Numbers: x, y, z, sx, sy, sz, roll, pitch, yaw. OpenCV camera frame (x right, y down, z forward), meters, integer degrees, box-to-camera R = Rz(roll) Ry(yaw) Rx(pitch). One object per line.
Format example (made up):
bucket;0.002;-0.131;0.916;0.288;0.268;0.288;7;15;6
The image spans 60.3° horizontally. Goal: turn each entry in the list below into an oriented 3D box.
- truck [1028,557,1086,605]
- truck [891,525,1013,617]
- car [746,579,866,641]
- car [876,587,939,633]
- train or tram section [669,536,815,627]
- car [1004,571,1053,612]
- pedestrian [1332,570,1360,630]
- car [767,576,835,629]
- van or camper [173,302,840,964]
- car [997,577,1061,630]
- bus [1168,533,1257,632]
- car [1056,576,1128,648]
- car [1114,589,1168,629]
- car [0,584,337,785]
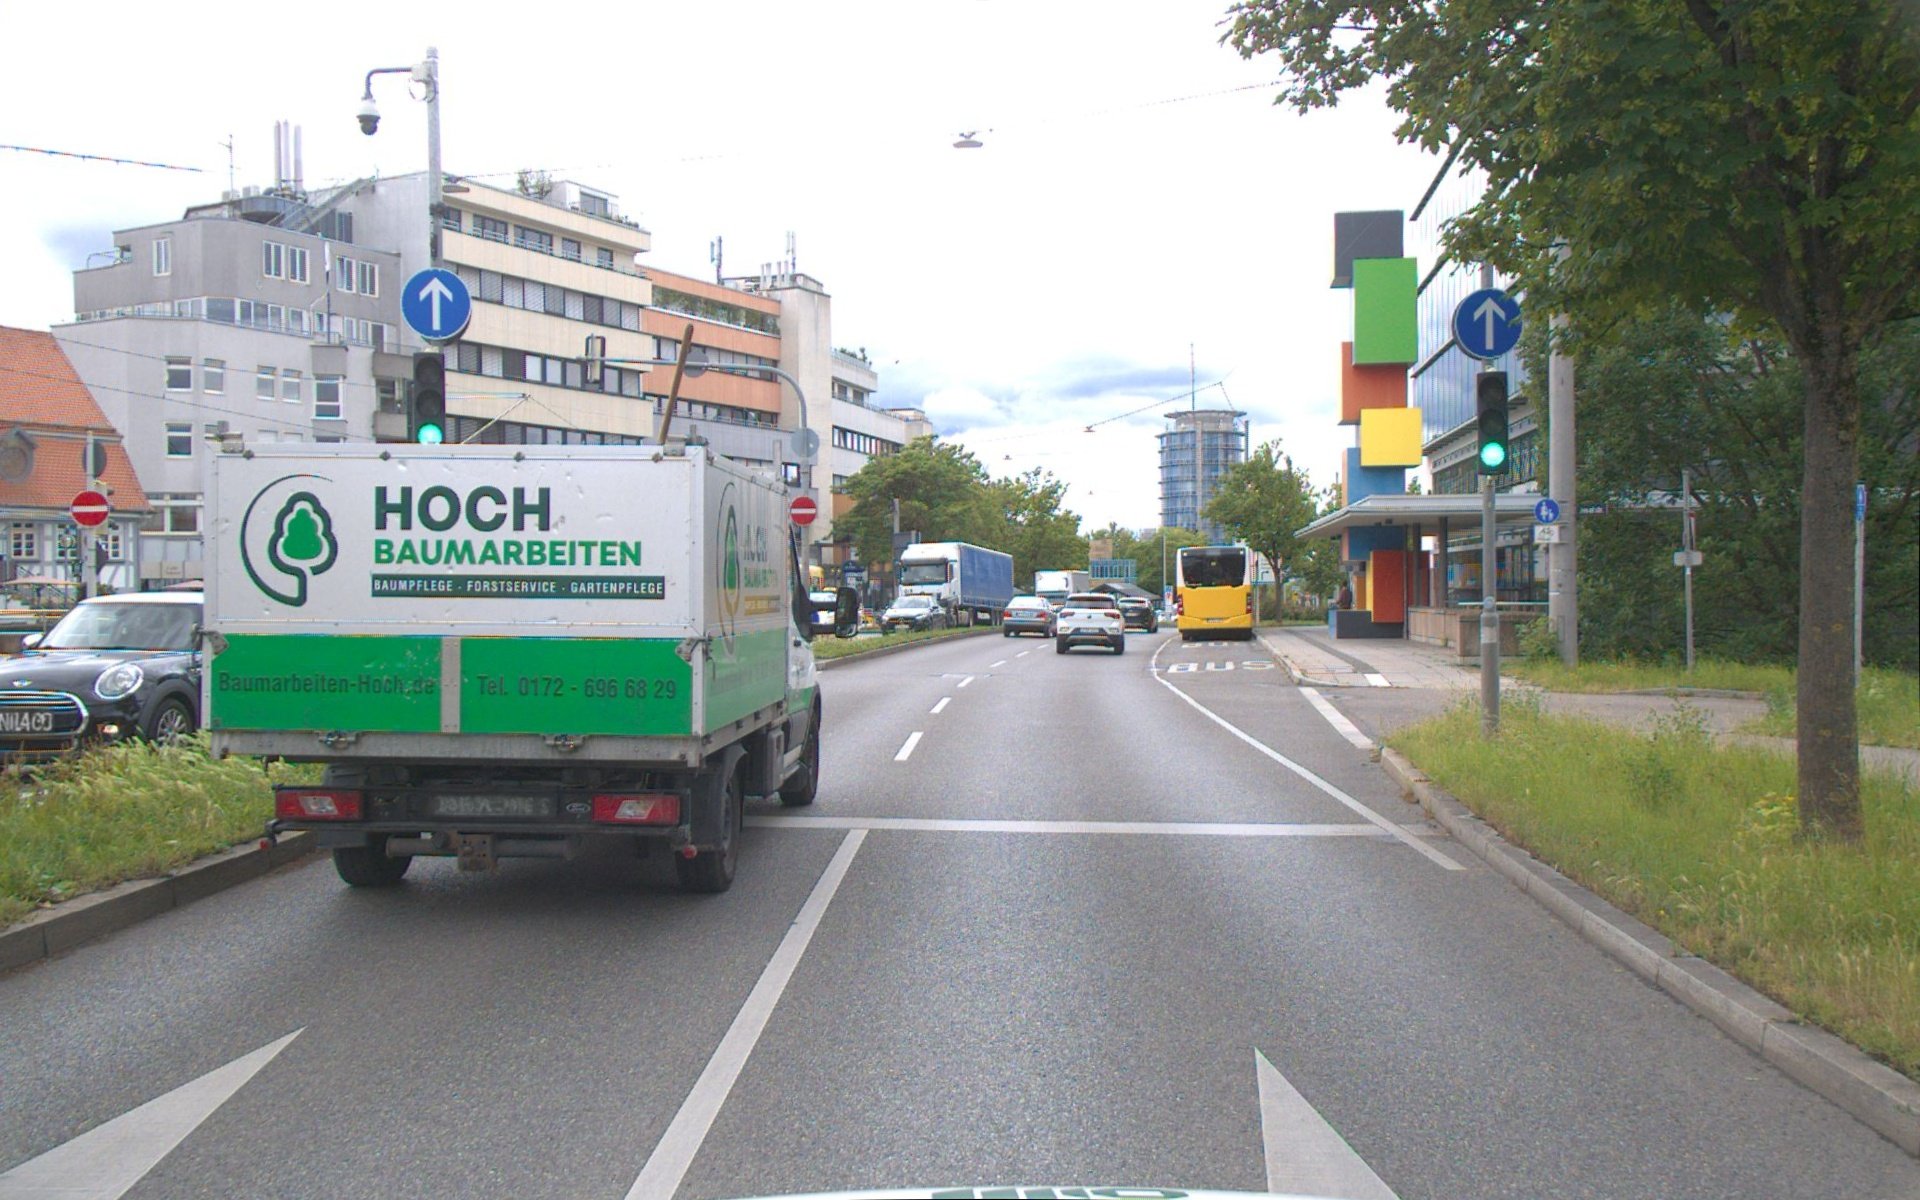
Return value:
truck;6.619;-1.292;111.209;3.017;3.081;9.366;0;1;9
truck;-0.100;-1.433;83.208;2.891;4.151;16.617;0;1;11
car;-4.014;0.226;44.010;1.923;1.525;4.780;0;1;11
car;-1.819;0.346;58.541;1.663;1.542;3.496;0;0;8
train or tram section;-8.947;-0.765;70.096;2.505;3.470;13.094;0;0;9
car;3.515;-0.441;84.281;1.951;2.049;5.201;0;1;8
pedestrian;12.004;-0.006;51.498;0.695;1.847;0.764;0;0;0
car;-5.450;0.056;57.027;1.532;1.784;3.844;0;1;7
van or camper;-2.103;0.051;9.843;2.295;2.708;5.966;1;2;0
car;2.448;0.099;57.877;1.663;1.541;3.741;1;4;12
bus;9.201;-0.632;59.542;2.891;3.246;9.938;0;1;10
car;3.582;0.287;44.382;1.664;1.574;3.740;3;4;7
car;7.866;0.371;71.637;1.664;1.542;3.496;1;2;17
car;-6.818;0.628;14.024;1.580;1.471;3.653;0;0;2
